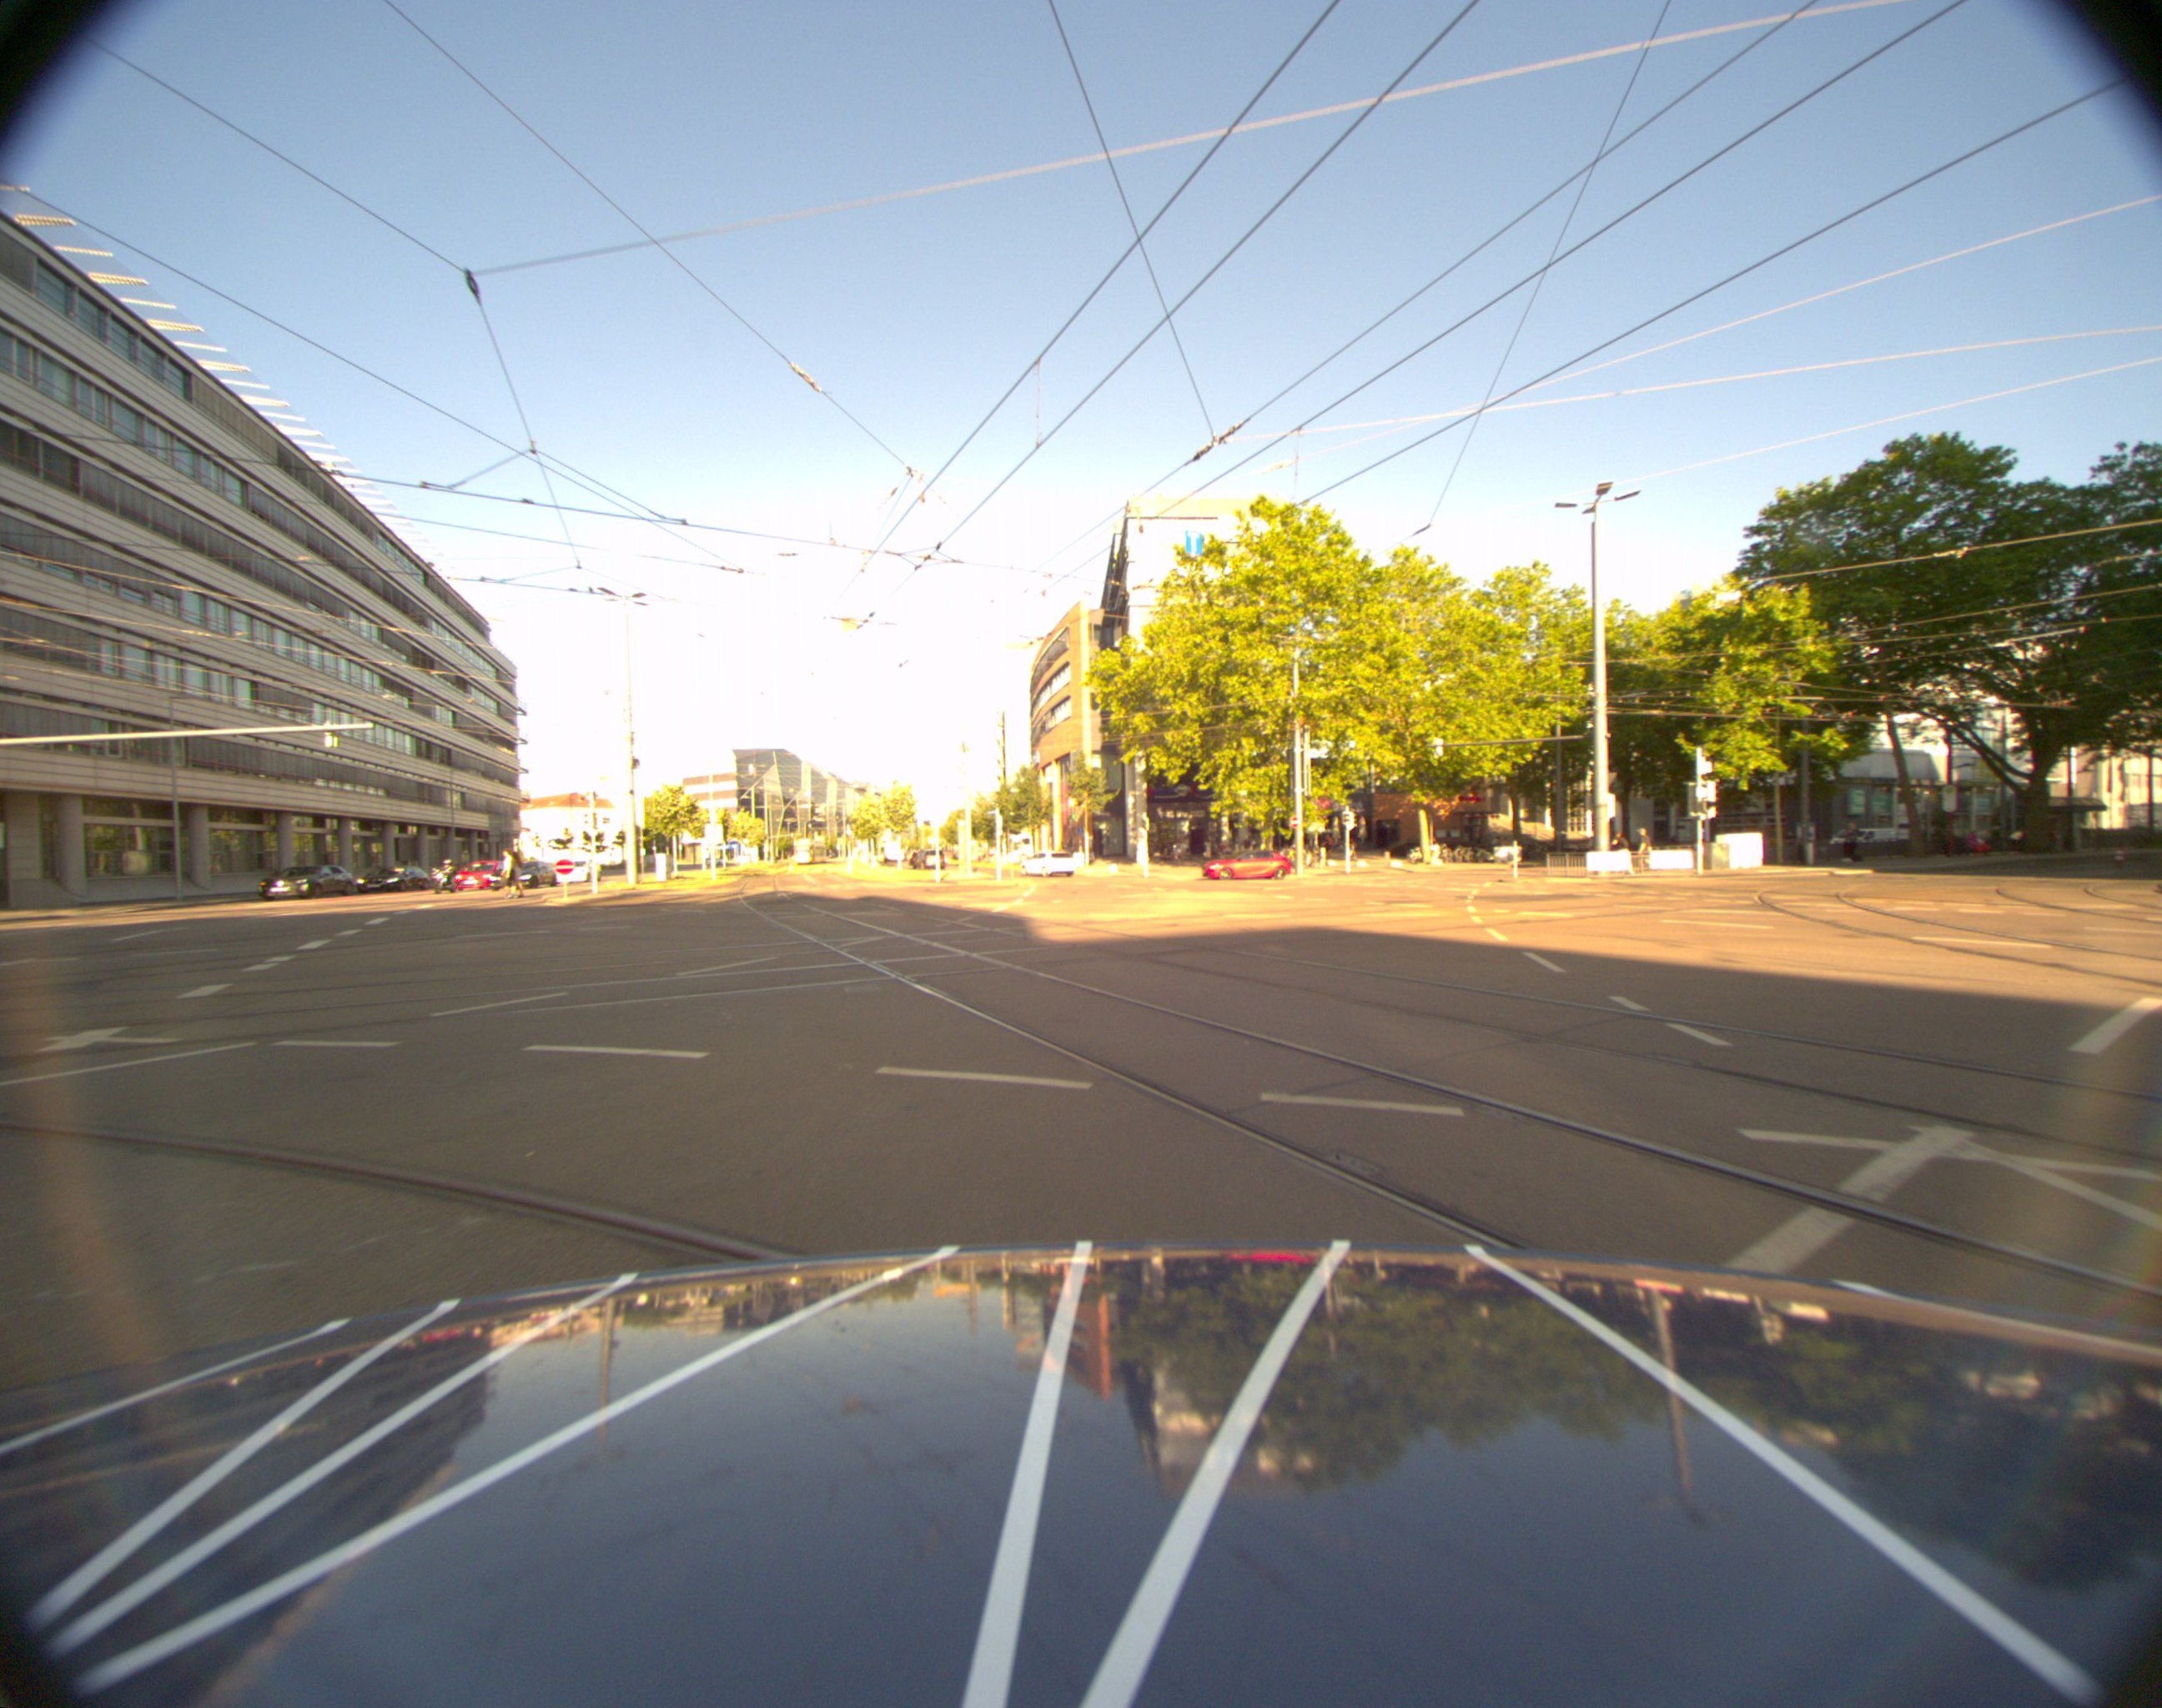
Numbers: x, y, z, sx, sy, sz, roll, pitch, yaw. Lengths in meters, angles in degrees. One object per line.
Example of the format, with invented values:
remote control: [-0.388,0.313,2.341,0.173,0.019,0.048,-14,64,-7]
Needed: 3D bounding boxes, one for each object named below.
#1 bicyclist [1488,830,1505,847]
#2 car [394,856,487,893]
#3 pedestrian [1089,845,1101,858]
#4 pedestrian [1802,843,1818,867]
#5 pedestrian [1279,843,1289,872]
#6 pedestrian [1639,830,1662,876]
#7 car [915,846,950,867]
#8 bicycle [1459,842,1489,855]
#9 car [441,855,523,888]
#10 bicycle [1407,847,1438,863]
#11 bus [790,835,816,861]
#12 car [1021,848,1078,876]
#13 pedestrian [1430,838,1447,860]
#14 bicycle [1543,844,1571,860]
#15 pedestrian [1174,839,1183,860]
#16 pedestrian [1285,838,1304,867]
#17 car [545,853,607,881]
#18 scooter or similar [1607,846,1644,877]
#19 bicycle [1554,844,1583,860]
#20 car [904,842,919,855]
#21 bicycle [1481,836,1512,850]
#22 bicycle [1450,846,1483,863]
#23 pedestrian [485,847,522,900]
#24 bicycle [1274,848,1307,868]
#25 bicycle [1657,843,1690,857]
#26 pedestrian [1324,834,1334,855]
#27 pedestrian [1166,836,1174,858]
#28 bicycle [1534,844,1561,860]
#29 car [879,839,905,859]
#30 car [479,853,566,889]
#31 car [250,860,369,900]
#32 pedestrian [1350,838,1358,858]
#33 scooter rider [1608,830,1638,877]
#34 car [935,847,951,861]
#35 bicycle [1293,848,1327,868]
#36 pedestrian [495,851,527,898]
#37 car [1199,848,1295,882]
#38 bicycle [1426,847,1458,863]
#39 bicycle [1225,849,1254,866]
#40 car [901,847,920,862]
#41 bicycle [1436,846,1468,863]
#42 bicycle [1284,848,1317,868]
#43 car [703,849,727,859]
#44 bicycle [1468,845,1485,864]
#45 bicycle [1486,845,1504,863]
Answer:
bicyclist: [32.291,-1.210,59.111,0.958,1.337,0.675,-1,2,6]
car: [-30.317,0.923,36.124,1.906,1.612,3.860,-1,0,-16]
pedestrian: [1.214,-0.204,65.413,0.778,1.075,0.679,-2,2,-32]
pedestrian: [32.163,0.035,33.507,0.379,1.026,0.405,-2,2,-28]
pedestrian: [10.962,0.200,40.990,0.483,1.529,0.573,0,2,14]
pedestrian: [22.424,-0.032,29.922,0.674,1.786,0.568,-2,2,-38]
car: [-11.643,0.218,59.257,1.621,1.593,4.166,1,0,-27]
bicycle: [32.096,-0.436,62.071,0.697,1.061,2.009,-2,2,-41]
car: [-31.462,0.877,40.057,1.906,1.612,4.165,-1,0,-15]
bicycle: [23.339,0.067,51.926,1.948,1.057,0.782,-1,2,-20]
bus: [-38.930,-0.744,106.144,2.730,3.388,9.648,-2,0,-24]
car: [-1.828,0.417,43.041,1.638,1.443,3.991,-2,1,-28]
pedestrian: [25.859,-0.386,55.002,0.876,1.533,0.764,-2,2,-26]
bicycle: [33.192,-0.159,52.978,1.948,1.057,0.577,-1,2,-20]
pedestrian: [7.908,-0.375,61.488,0.595,1.647,0.592,-1,2,-3]
pedestrian: [13.411,-0.089,47.722,0.894,1.754,0.729,-1,0,-24]
car: [-30.668,0.768,46.265,1.906,1.612,4.165,-1,0,-15]
scooter or similar: [21.464,0.291,29.968,0.456,1.172,1.158,-1,2,-16]
bicycle: [33.512,-0.163,52.219,1.948,1.057,0.577,-1,2,-20]
car: [-27.034,-0.908,121.263,1.611,2.002,3.884,-1,1,-3]
bicycle: [32.351,-0.840,59.114,2.012,1.061,0.696,-1,2,6]
bicycle: [25.028,0.041,49.320,1.948,1.057,0.782,-1,2,-20]
pedestrian: [-20.779,0.692,27.323,0.968,1.832,0.697,-2,2,-40]
bicycle: [12.654,0.246,45.855,1.846,1.123,0.774,-1,2,-25]
bicycle: [44.267,-0.319,56.766,0.579,1.057,1.943,-1,1,-19]
pedestrian: [20.317,-0.778,62.218,0.570,1.660,0.543,-1,2,-6]
pedestrian: [7.199,-0.574,61.566,0.592,1.745,0.596,0,2,10]
bicycle: [33.017,-0.159,53.753,1.948,1.057,0.577,-1,2,-20]
car: [-24.108,-0.594,97.200,1.999,2.466,5.972,-1,0,-2]
car: [-27.431,0.791,37.517,1.906,1.612,4.517,-1,0,-15]
car: [-34.856,1.138,34.492,1.906,1.612,4.165,-1,0,-15]
pedestrian: [22.602,-0.526,62.891,0.543,1.660,0.571,-1,2,9]
scooter rider: [21.444,-0.033,30.057,0.589,1.822,0.762,-1,2,-16]
car: [-17.118,-0.050,94.183,1.866,1.623,4.258,-1,1,-11]
bicycle: [13.354,0.238,44.359,1.846,1.123,0.774,-1,2,-25]
pedestrian: [-21.015,0.740,28.022,0.848,1.678,0.646,-2,2,-42]
car: [7.652,0.480,35.259,4.000,1.420,1.691,-1,1,-9]
bicycle: [24.210,0.052,50.977,1.948,1.057,0.782,-1,2,-20]
bicycle: [9.852,0.204,47.253,1.701,1.030,0.548,-1,2,-21]
car: [-19.146,0.035,85.394,1.865,1.623,4.259,-1,1,-10]
bicycle: [24.508,0.049,50.185,1.948,1.057,0.782,-1,2,-20]
bicycle: [13.048,0.241,45.104,1.846,1.123,0.774,-1,2,-25]
car: [-67.075,-0.014,139.222,4.005,1.849,1.995,-1,2,-26]
bicycle: [26.961,0.004,51.791,0.781,1.182,3.563,0,1,24]
bicycle: [28.135,-0.022,51.663,0.781,1.182,3.563,0,1,24]
